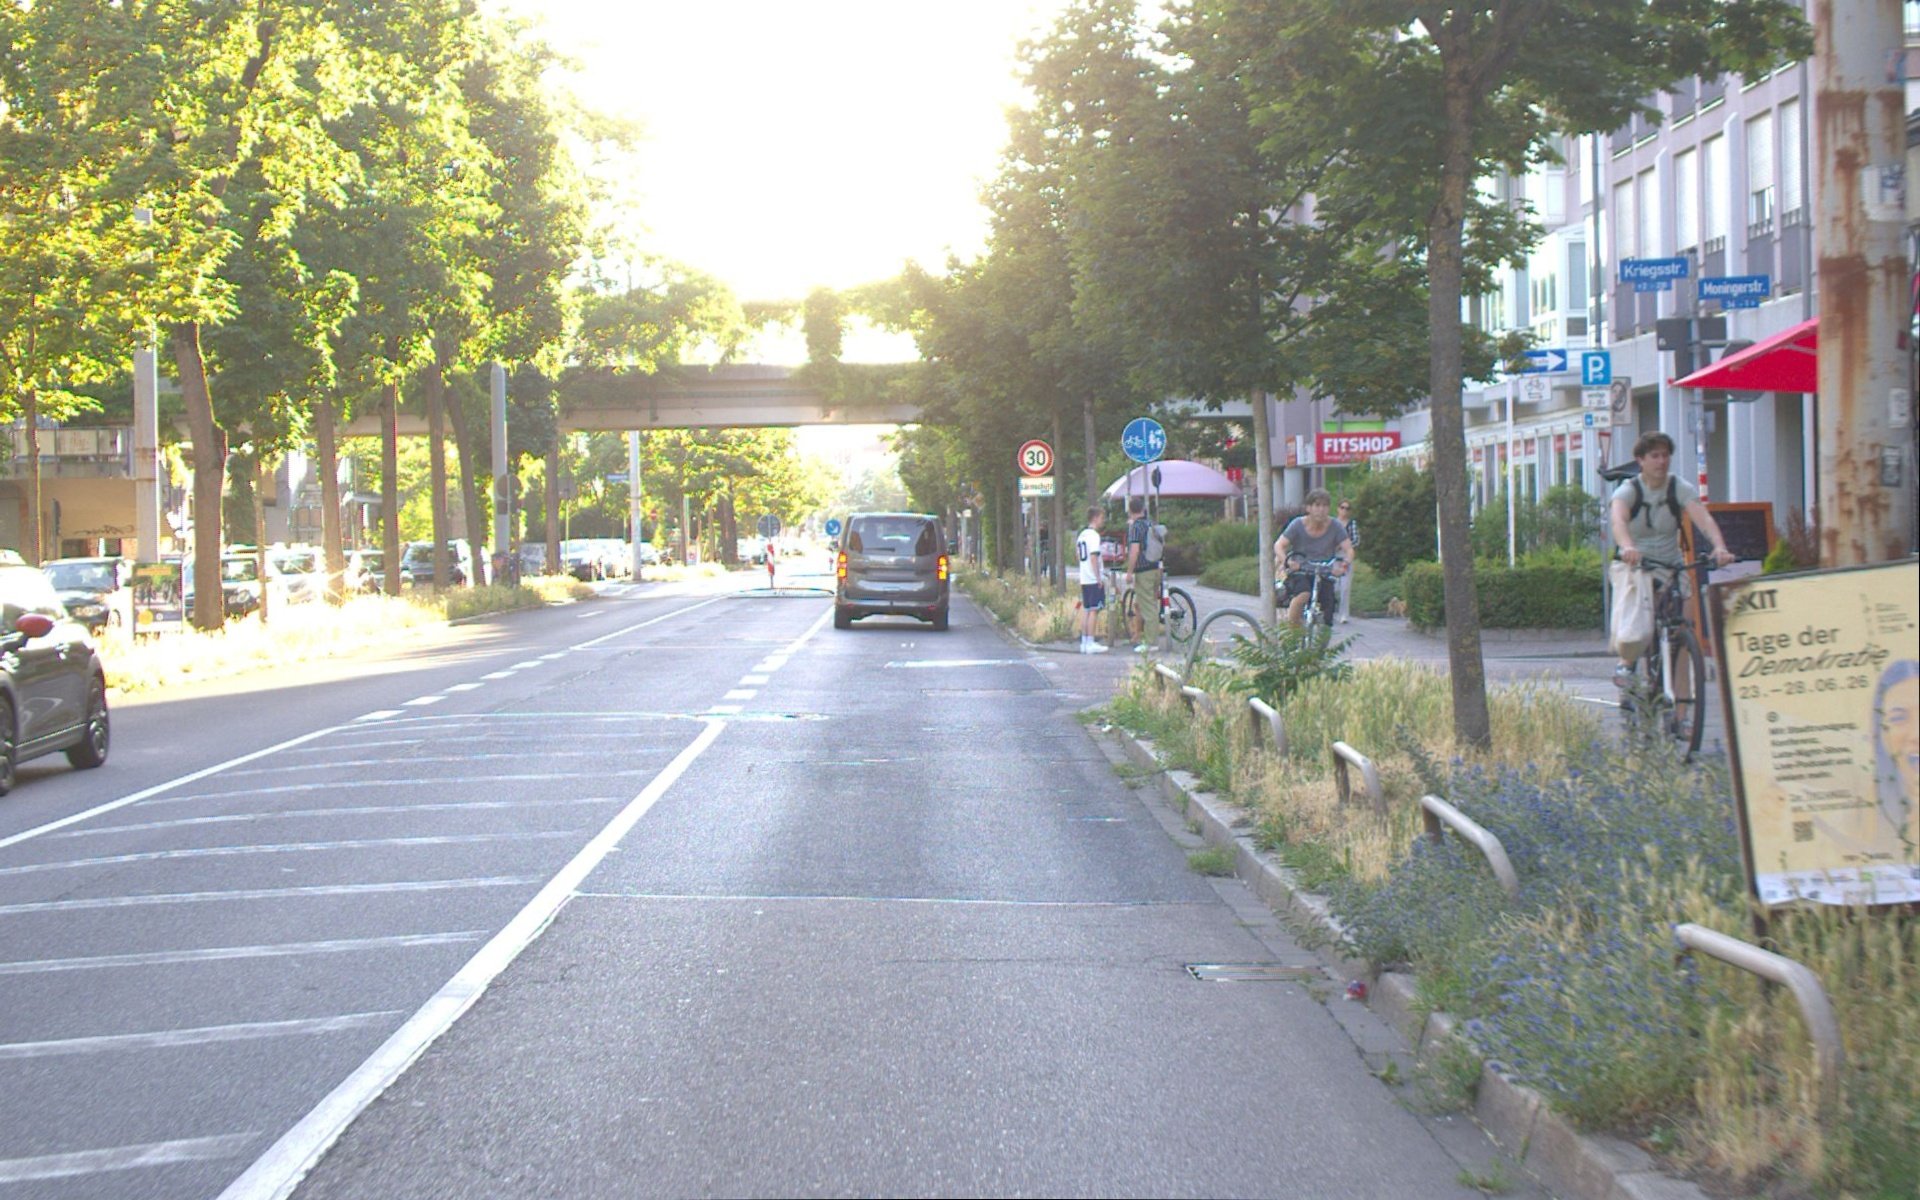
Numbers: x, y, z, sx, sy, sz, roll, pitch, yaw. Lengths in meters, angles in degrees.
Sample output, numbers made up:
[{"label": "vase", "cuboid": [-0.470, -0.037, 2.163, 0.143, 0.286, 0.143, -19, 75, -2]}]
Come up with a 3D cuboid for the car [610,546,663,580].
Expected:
[{"label": "car", "cuboid": [-14.346, -1.655, 152.721, 1.993, 1.409, 4.237, 1, 1, -1]}]

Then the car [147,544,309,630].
[{"label": "car", "cuboid": [-12.823, -0.252, 60.442, 1.993, 1.409, 4.237, 1, 1, -1]}]

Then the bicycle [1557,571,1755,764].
[{"label": "bicycle", "cuboid": [3.525, 0.316, 17.546, 0.579, 0.894, 1.987, 1, 1, 0]}]

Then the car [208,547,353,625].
[{"label": "car", "cuboid": [-13.058, -0.289, 66.257, 1.993, 1.409, 4.237, 1, 1, -1]}]

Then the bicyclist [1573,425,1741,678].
[{"label": "bicyclist", "cuboid": [3.513, -0.249, 17.398, 0.585, 1.232, 1.112, 1, 1, -1]}]

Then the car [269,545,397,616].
[{"label": "car", "cuboid": [-13.281, -0.438, 73.069, 1.993, 1.409, 4.237, 1, 1, -1]}]

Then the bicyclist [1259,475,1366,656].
[{"label": "bicyclist", "cuboid": [3.093, -0.309, 30.237, 0.751, 1.552, 0.938, 1, 1, -6]}]

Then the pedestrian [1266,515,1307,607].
[{"label": "pedestrian", "cuboid": [6.472, -0.773, 68.194, 0.715, 1.811, 0.615, 1, 1, -1]}]

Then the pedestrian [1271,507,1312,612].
[{"label": "pedestrian", "cuboid": [6.500, -0.798, 67.388, 0.715, 2.034, 0.615, 1, 1, -1]}]

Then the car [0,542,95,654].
[{"label": "car", "cuboid": [-12.335, -0.065, 43.107, 1.993, 1.305, 4.066, 1, 1, -1]}]

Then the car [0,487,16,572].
[{"label": "car", "cuboid": [-27.096, -1.912, 92.511, 1.993, 2.300, 5.245, 1, 1, -1]}]

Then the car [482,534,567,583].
[{"label": "car", "cuboid": [-12.921, -1.243, 102.199, 1.993, 1.409, 4.237, 1, 1, -1]}]

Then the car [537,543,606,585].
[{"label": "car", "cuboid": [-13.610, -1.284, 120.638, 1.993, 1.409, 4.237, 1, 1, -1]}]

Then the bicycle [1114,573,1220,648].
[{"label": "bicycle", "cuboid": [2.617, 0.123, 43.760, 0.588, 0.894, 1.988, 0, 1, -20]}]

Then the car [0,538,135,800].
[{"label": "car", "cuboid": [-6.534, 0.422, 21.678, 1.679, 1.525, 4.000, -3, 1, -1]}]

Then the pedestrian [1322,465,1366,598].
[{"label": "pedestrian", "cuboid": [7.362, -1.306, 65.924, 0.715, 2.530, 0.824, 1, 1, -1]}]

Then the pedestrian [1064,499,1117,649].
[{"label": "pedestrian", "cuboid": [1.638, -0.331, 43.345, 0.504, 1.882, 0.545, 0, 1, -15]}]

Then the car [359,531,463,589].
[{"label": "car", "cuboid": [-13.878, -1.037, 87.096, 1.993, 1.409, 4.237, 1, 1, -1]}]

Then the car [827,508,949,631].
[{"label": "car", "cuboid": [-1.165, -0.540, 56.949, 1.887, 1.918, 3.839, -2, 1, 0]}]

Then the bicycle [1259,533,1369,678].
[{"label": "bicycle", "cuboid": [3.099, 0.027, 30.241, 0.546, 1.222, 1.988, 1, 1, -6]}]

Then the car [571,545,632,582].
[{"label": "car", "cuboid": [-14.051, -1.447, 134.792, 1.993, 1.409, 4.237, 1, 1, -1]}]

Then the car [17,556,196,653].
[{"label": "car", "cuboid": [-12.452, 0.035, 50.370, 1.671, 1.309, 3.965, 1, 1, -1]}]

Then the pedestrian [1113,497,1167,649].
[{"label": "pedestrian", "cuboid": [2.250, -0.340, 42.908, 0.504, 1.882, 0.545, 0, 1, -15]}]
